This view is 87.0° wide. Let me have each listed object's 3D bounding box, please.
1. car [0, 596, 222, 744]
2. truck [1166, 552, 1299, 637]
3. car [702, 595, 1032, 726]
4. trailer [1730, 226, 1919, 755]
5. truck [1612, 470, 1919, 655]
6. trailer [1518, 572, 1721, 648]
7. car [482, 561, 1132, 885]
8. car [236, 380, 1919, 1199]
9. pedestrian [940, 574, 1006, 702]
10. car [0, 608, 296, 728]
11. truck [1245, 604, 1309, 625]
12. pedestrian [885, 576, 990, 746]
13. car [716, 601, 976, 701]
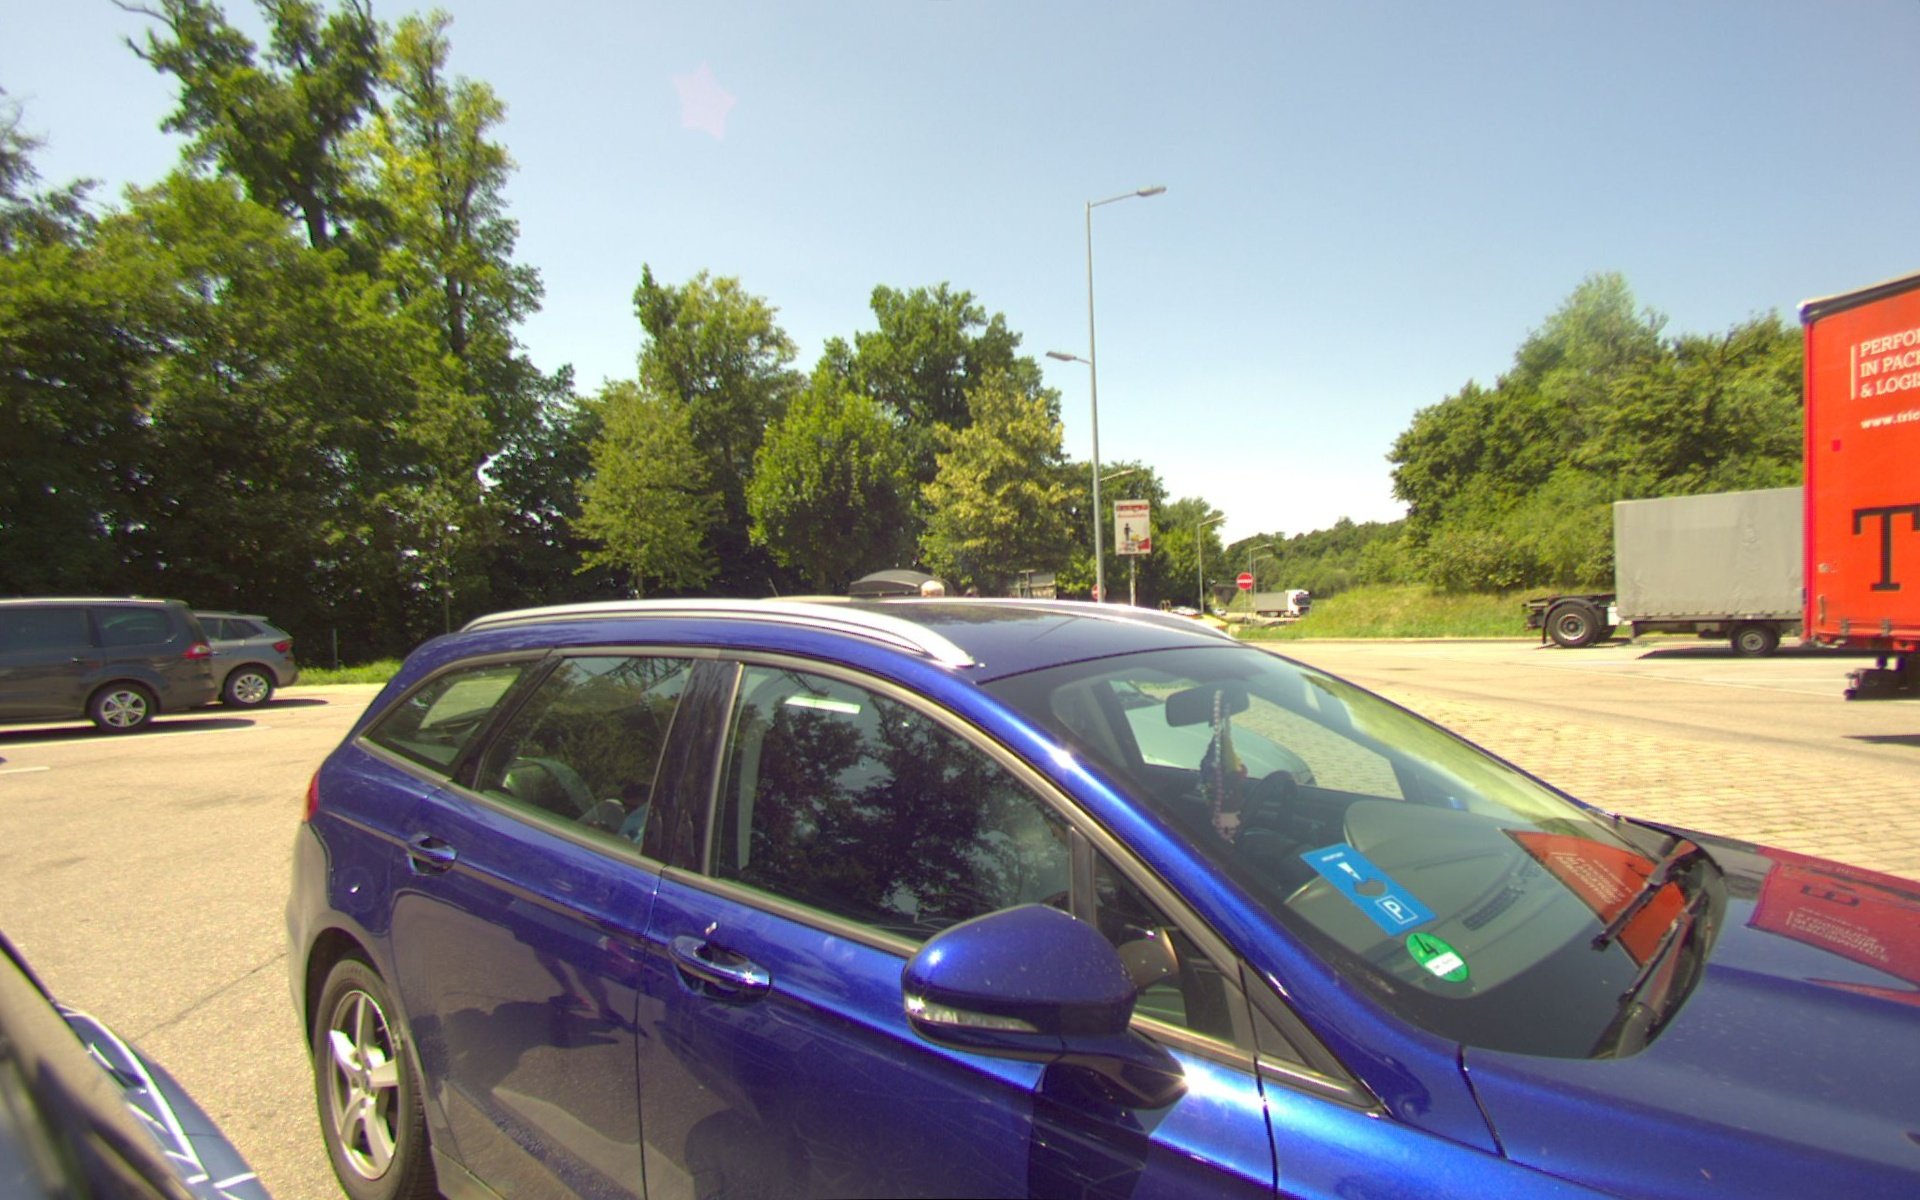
[{"bbox_3d":[-11.690,0.846,12.556,3.910,1.701,1.782,-1,-1,-43],"label":"car"},{"bbox_3d":[12.812,-0.220,47.609,5.782,3.720,1.987,-2,-1,20],"label":"truck"},{"bbox_3d":[-1.368,0.757,13.533,4.466,1.476,1.756,-3,-1,40],"label":"car"},{"bbox_3d":[9.502,-0.964,5.711,2.799,4.290,8.697,-1,-1,-7],"label":"trailer"},{"bbox_3d":[16.720,-0.638,18.824,7.347,3.152,2.339,-3,-2,41],"label":"truck"},{"bbox_3d":[15.778,0.279,24.331,3.900,1.674,1.456,-2,-1,41],"label":"trailer"},{"bbox_3d":[-1.269,0.632,6.740,4.466,1.476,1.756,-3,-1,40],"label":"car"},{"bbox_3d":[0.233,0.629,2.101,4.466,1.476,1.756,-3,-1,40],"label":"car"},{"bbox_3d":[0.186,0.507,13.538,0.710,1.662,0.645,-2,-1,14],"label":"pedestrian"},{"bbox_3d":[-12.719,0.971,15.607,3.910,1.598,1.782,-1,-1,-43],"label":"car"},{"bbox_3d":[48.419,2.264,155.188,2.512,2.944,16.282,-1,-1,-8],"label":"truck"},{"bbox_3d":[-0.226,0.590,10.136,0.759,1.614,0.663,-3,-1,41],"label":"pedestrian"},{"bbox_3d":[-2.020,0.829,17.086,4.466,1.476,1.756,-3,-1,40],"label":"car"}]
